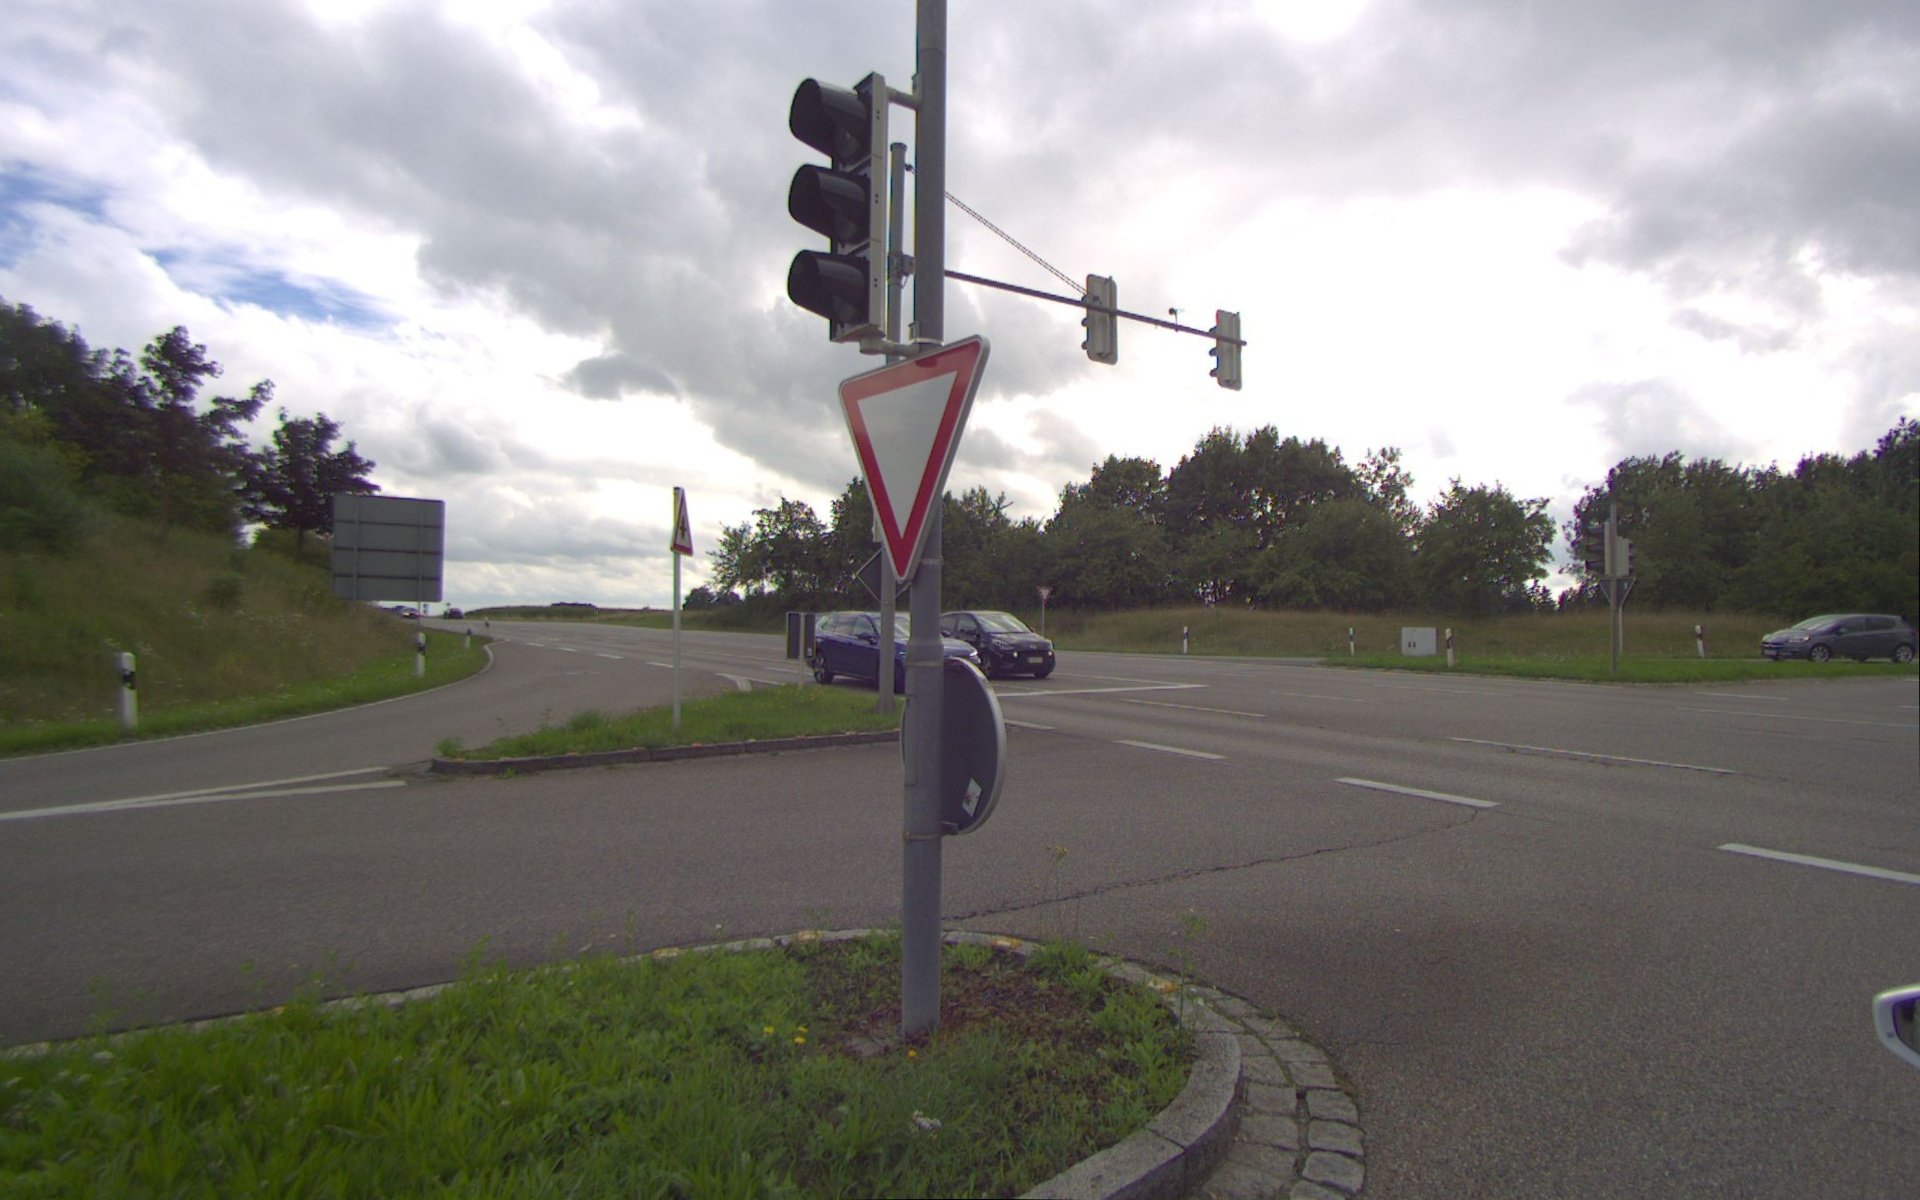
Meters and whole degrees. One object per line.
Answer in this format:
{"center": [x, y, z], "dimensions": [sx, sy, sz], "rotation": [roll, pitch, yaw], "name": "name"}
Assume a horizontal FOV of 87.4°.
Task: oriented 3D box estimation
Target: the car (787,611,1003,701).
{"center": [-1.472, 1.013, 20.170], "dimensions": [2.031, 1.555, 5.077], "rotation": [1, -1, -35], "name": "car"}

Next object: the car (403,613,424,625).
{"center": [-65.819, 2.272, 120.947], "dimensions": [1.753, 1.401, 4.499], "rotation": [1, -1, -35], "name": "car"}

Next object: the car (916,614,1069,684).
{"center": [0.670, 1.071, 23.454], "dimensions": [1.712, 1.462, 3.909], "rotation": [1, -1, -32], "name": "car"}

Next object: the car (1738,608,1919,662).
{"center": [26.846, 1.068, 31.085], "dimensions": [3.920, 1.555, 2.001], "rotation": [1, -1, 2], "name": "car"}

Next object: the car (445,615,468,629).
{"center": [-63.369, 2.779, 126.362], "dimensions": [1.833, 1.712, 3.956], "rotation": [3, -2, -38], "name": "car"}
